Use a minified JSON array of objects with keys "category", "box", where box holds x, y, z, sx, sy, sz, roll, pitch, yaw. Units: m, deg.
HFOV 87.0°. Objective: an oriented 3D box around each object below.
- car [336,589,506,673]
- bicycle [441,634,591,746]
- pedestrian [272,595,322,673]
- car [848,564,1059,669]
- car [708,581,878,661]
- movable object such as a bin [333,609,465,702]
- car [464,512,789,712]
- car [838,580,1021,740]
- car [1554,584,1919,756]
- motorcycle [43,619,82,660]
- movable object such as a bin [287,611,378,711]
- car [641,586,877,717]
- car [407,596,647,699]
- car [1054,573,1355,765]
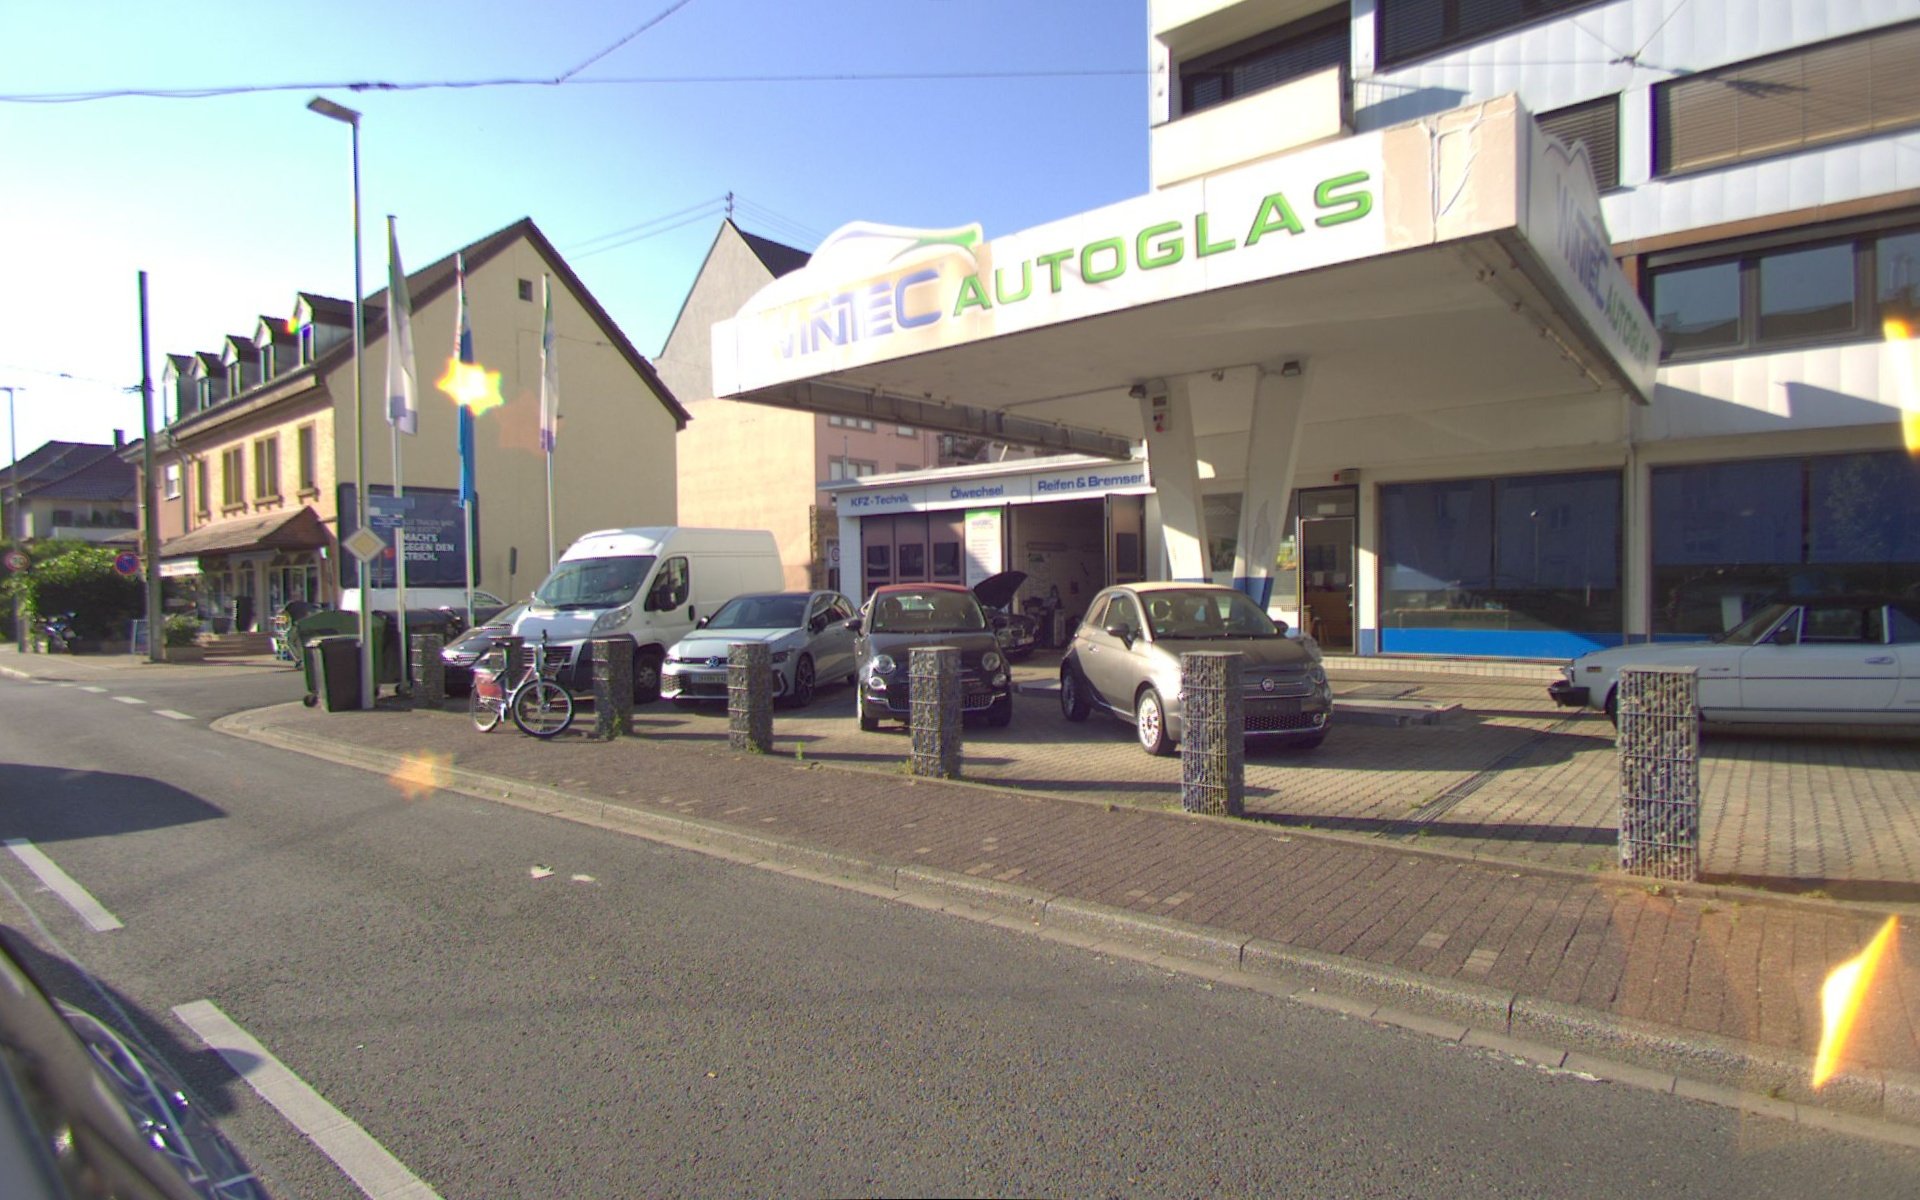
[{"category":"car","box":[-13.902,0.740,26.256,1.449,2.029,3.628,-1,0,37]},{"category":"bicycle","box":[-4.904,0.943,11.126,1.789,1.094,0.716,-1,1,37]},{"category":"pedestrian","box":[-16.188,0.812,24.714,0.766,1.866,0.812,-1,0,40]},{"category":"car","box":[-0.215,0.321,20.924,4.255,1.958,1.720,-1,0,40]},{"category":"car","box":[-4.043,0.472,24.160,4.158,1.750,1.720,-1,0,40]},{"category":"movable object such as a bin","box":[-9.585,0.916,17.373,1.039,1.475,1.787,-1,0,15]},{"category":"car","box":[-4.696,0.133,15.228,2.098,2.472,4.963,-1,0,18]},{"category":"car","box":[-0.491,0.566,11.513,1.569,1.508,3.443,-1,0,-10]},{"category":"car","box":[7.377,0.544,8.576,3.898,1.308,1.506,-1,-1,37]},{"category":"motorcycle","box":[-27.976,1.205,31.532,2.186,1.226,0.699,-1,0,43]},{"category":"movable object such as a bin","box":[-9.714,0.918,15.718,1.030,1.475,0.798,-1,0,-18]},{"category":"car","box":[-2.540,0.589,13.809,1.725,1.508,4.016,-1,0,12]},{"category":"car","box":[-7.071,0.705,17.013,1.725,1.488,4.016,-1,0,12]},{"category":"car","box":[2.145,0.537,9.799,1.517,1.497,3.381,-1,0,-11]}]
